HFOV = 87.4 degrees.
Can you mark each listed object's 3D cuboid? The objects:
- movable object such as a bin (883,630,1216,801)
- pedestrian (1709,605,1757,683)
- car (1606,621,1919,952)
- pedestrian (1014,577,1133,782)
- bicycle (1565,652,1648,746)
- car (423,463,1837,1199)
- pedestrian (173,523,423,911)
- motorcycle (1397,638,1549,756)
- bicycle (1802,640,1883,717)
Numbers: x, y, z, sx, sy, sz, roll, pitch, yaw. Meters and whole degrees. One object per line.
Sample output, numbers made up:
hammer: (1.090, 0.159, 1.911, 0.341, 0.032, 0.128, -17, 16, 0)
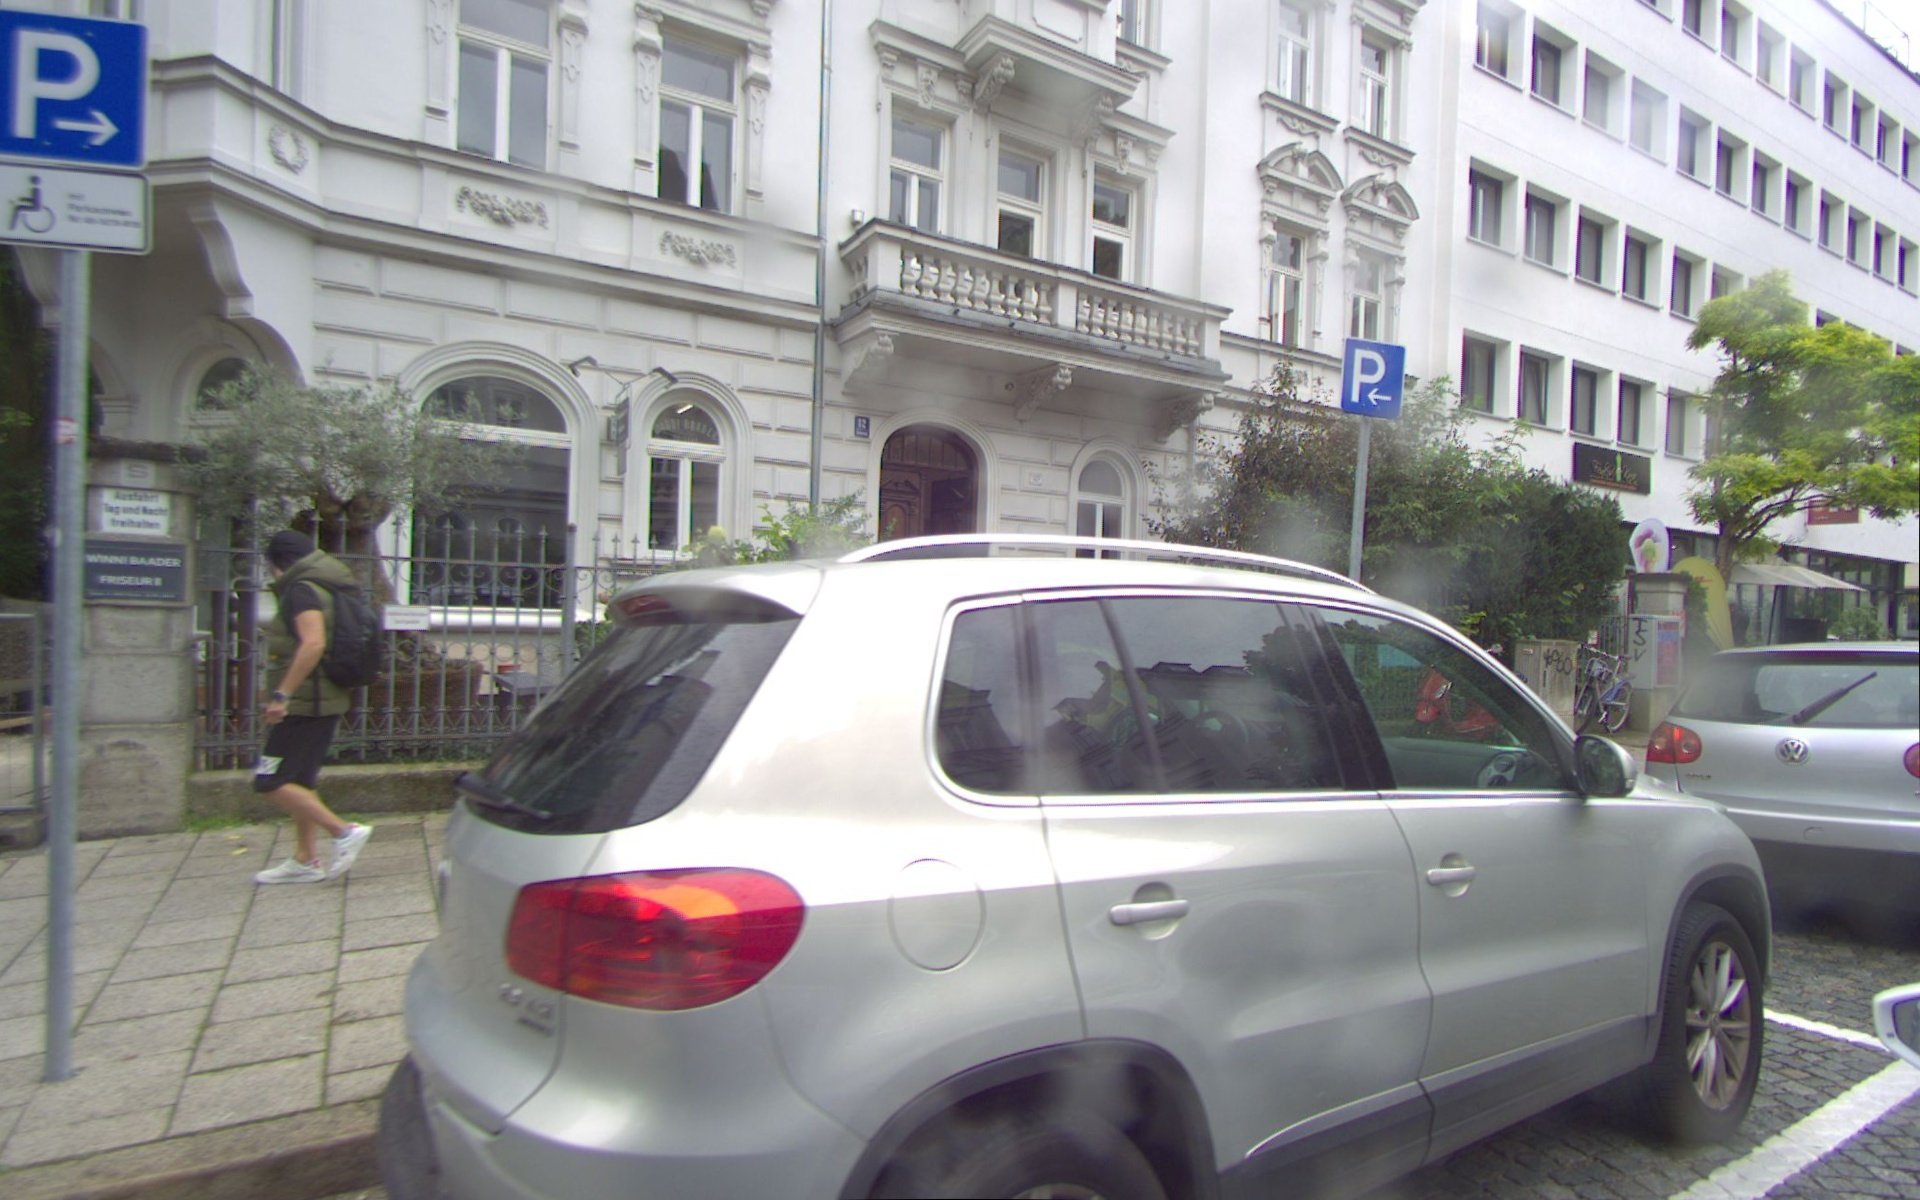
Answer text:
movable object such as a bin: (0.750, 0.874, 7.922, 2.617, 1.181, 0.640, 2, 0, -25)
pedestrian: (17.172, 0.969, 22.315, 0.773, 1.683, 0.553, 0, 2, -28)
car: (5.595, 0.905, 5.858, 3.775, 1.412, 1.622, 2, 0, -33)
pedestrian: (0.970, 0.660, 8.626, 0.810, 1.669, 0.574, 2, 0, -24)
bicycle: (8.249, 1.236, 12.784, 1.669, 1.093, 0.255, 1, 1, -35)
car: (0.765, 0.692, 2.981, 4.024, 1.593, 1.680, 2, 0, -33)
pedestrian: (-3.040, 0.505, 4.675, 0.655, 1.649, 0.667, 2, 0, 1)
motorcycle: (5.479, 1.037, 10.720, 1.598, 1.195, 0.330, 2, 0, -15)
bicycle: (14.458, 1.278, 16.440, 1.888, 1.190, 0.359, 2, 0, -29)
